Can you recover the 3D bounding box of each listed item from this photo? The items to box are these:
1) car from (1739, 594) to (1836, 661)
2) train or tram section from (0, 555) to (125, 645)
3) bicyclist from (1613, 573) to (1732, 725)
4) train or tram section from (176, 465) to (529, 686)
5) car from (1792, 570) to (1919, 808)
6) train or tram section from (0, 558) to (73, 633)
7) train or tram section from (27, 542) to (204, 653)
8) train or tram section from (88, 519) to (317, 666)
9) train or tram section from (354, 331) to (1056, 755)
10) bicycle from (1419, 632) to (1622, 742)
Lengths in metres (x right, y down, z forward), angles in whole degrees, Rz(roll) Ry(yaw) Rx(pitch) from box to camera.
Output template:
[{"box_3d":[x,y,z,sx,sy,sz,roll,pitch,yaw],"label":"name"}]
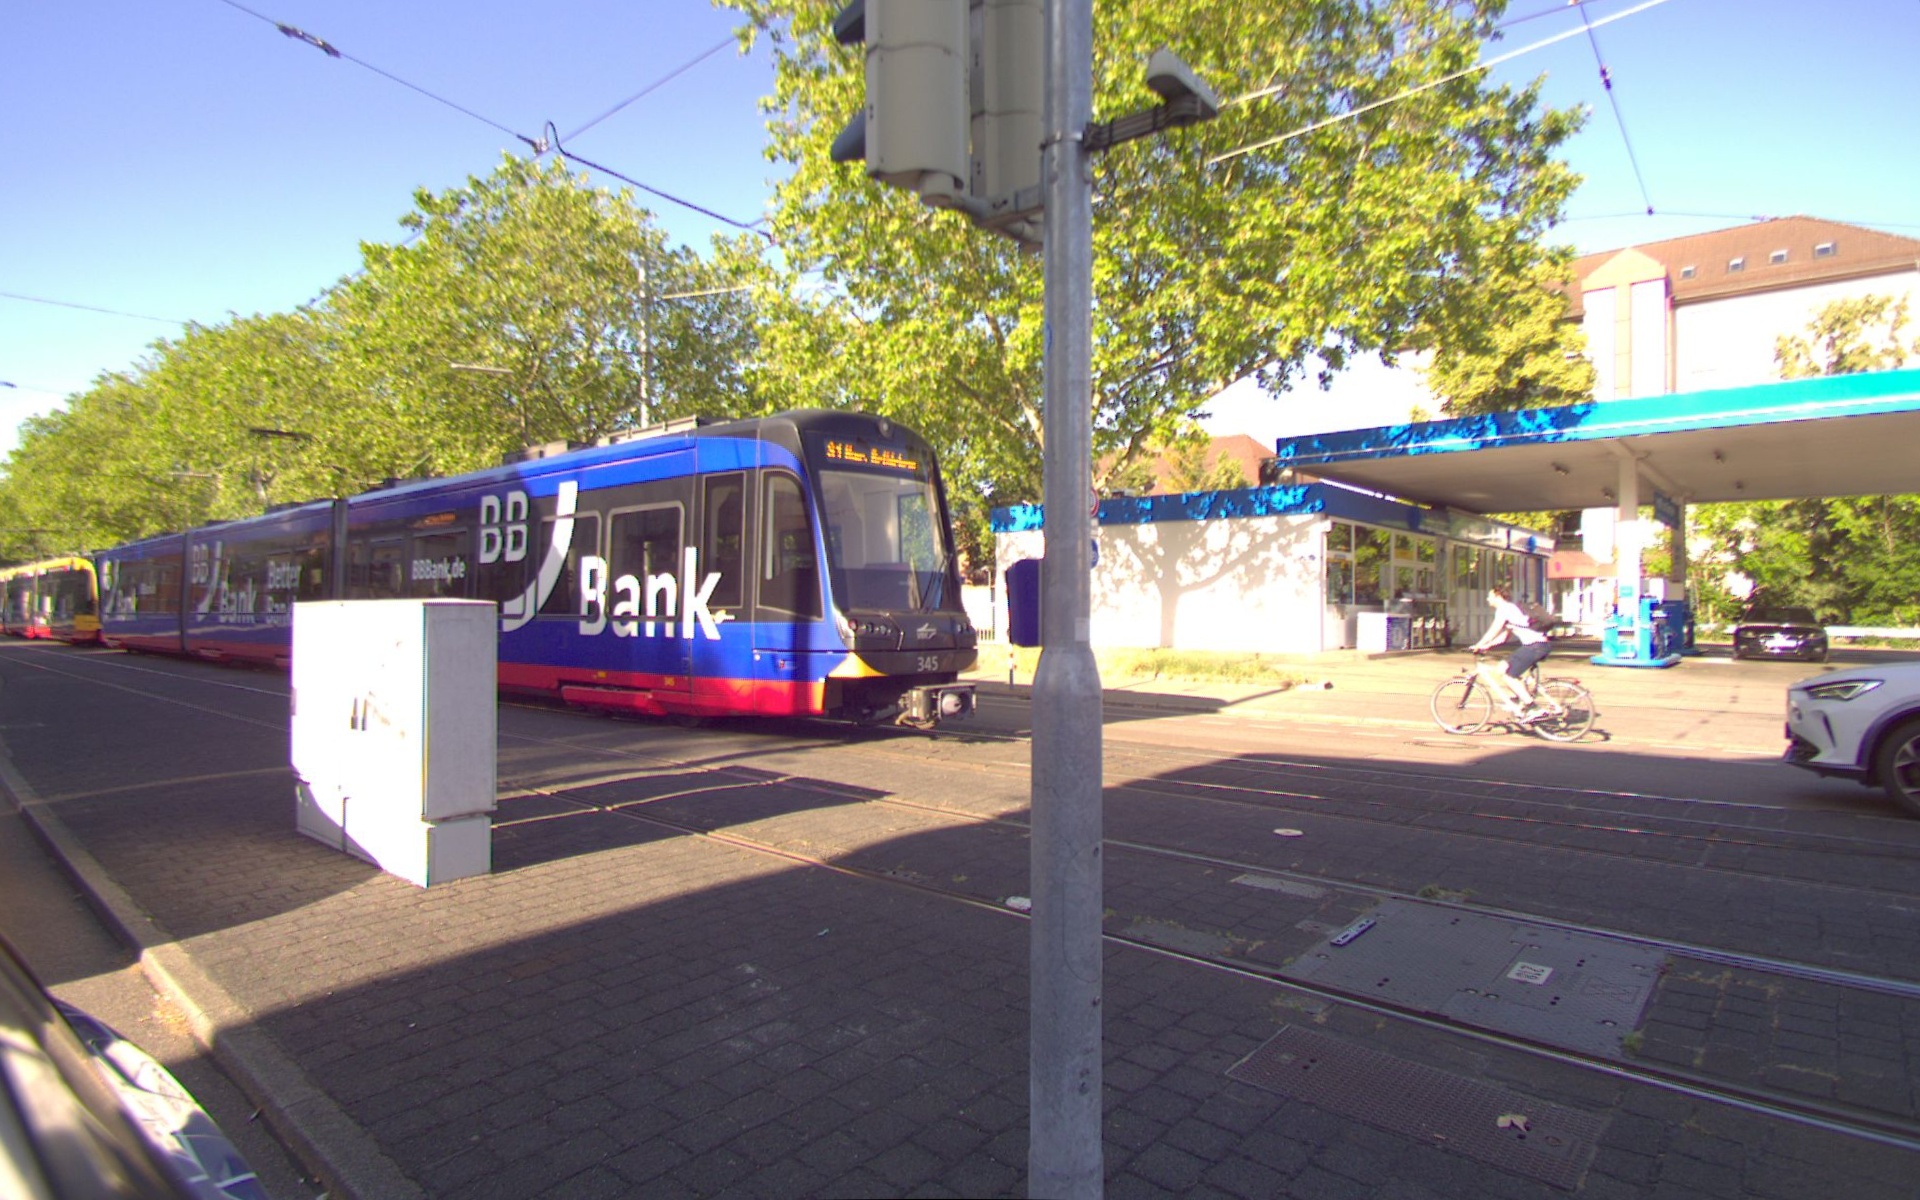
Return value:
[{"box_3d":[20.465,0.651,25.003,1.716,1.497,4.162,-1,-1,40],"label":"car"},{"box_3d":[-41.181,0.090,45.970,11.942,3.640,3.024,-1,-1,41],"label":"train or tram section"},{"box_3d":[7.756,0.510,11.019,0.986,1.571,0.707,-1,-1,41],"label":"bicyclist"},{"box_3d":[-13.732,-0.332,21.996,12.498,3.640,3.023,-1,-1,42],"label":"train or tram section"},{"box_3d":[7.888,0.561,6.096,4.347,1.508,1.972,-1,-1,43],"label":"car"},{"box_3d":[-50.449,-0.153,54.171,12.887,3.640,3.022,-1,-1,42],"label":"train or tram section"},{"box_3d":[-32.084,-0.016,38.157,12.104,3.640,3.024,-1,-1,40],"label":"train or tram section"},{"box_3d":[-22.944,-0.117,30.221,12.109,3.640,3.023,-1,-1,41],"label":"train or tram section"},{"box_3d":[-4.479,-0.425,13.851,12.109,3.640,3.023,-1,-1,41],"label":"train or tram section"},{"box_3d":[6.604,0.984,12.023,2.055,1.175,0.480,-1,-1,41],"label":"bicycle"}]
